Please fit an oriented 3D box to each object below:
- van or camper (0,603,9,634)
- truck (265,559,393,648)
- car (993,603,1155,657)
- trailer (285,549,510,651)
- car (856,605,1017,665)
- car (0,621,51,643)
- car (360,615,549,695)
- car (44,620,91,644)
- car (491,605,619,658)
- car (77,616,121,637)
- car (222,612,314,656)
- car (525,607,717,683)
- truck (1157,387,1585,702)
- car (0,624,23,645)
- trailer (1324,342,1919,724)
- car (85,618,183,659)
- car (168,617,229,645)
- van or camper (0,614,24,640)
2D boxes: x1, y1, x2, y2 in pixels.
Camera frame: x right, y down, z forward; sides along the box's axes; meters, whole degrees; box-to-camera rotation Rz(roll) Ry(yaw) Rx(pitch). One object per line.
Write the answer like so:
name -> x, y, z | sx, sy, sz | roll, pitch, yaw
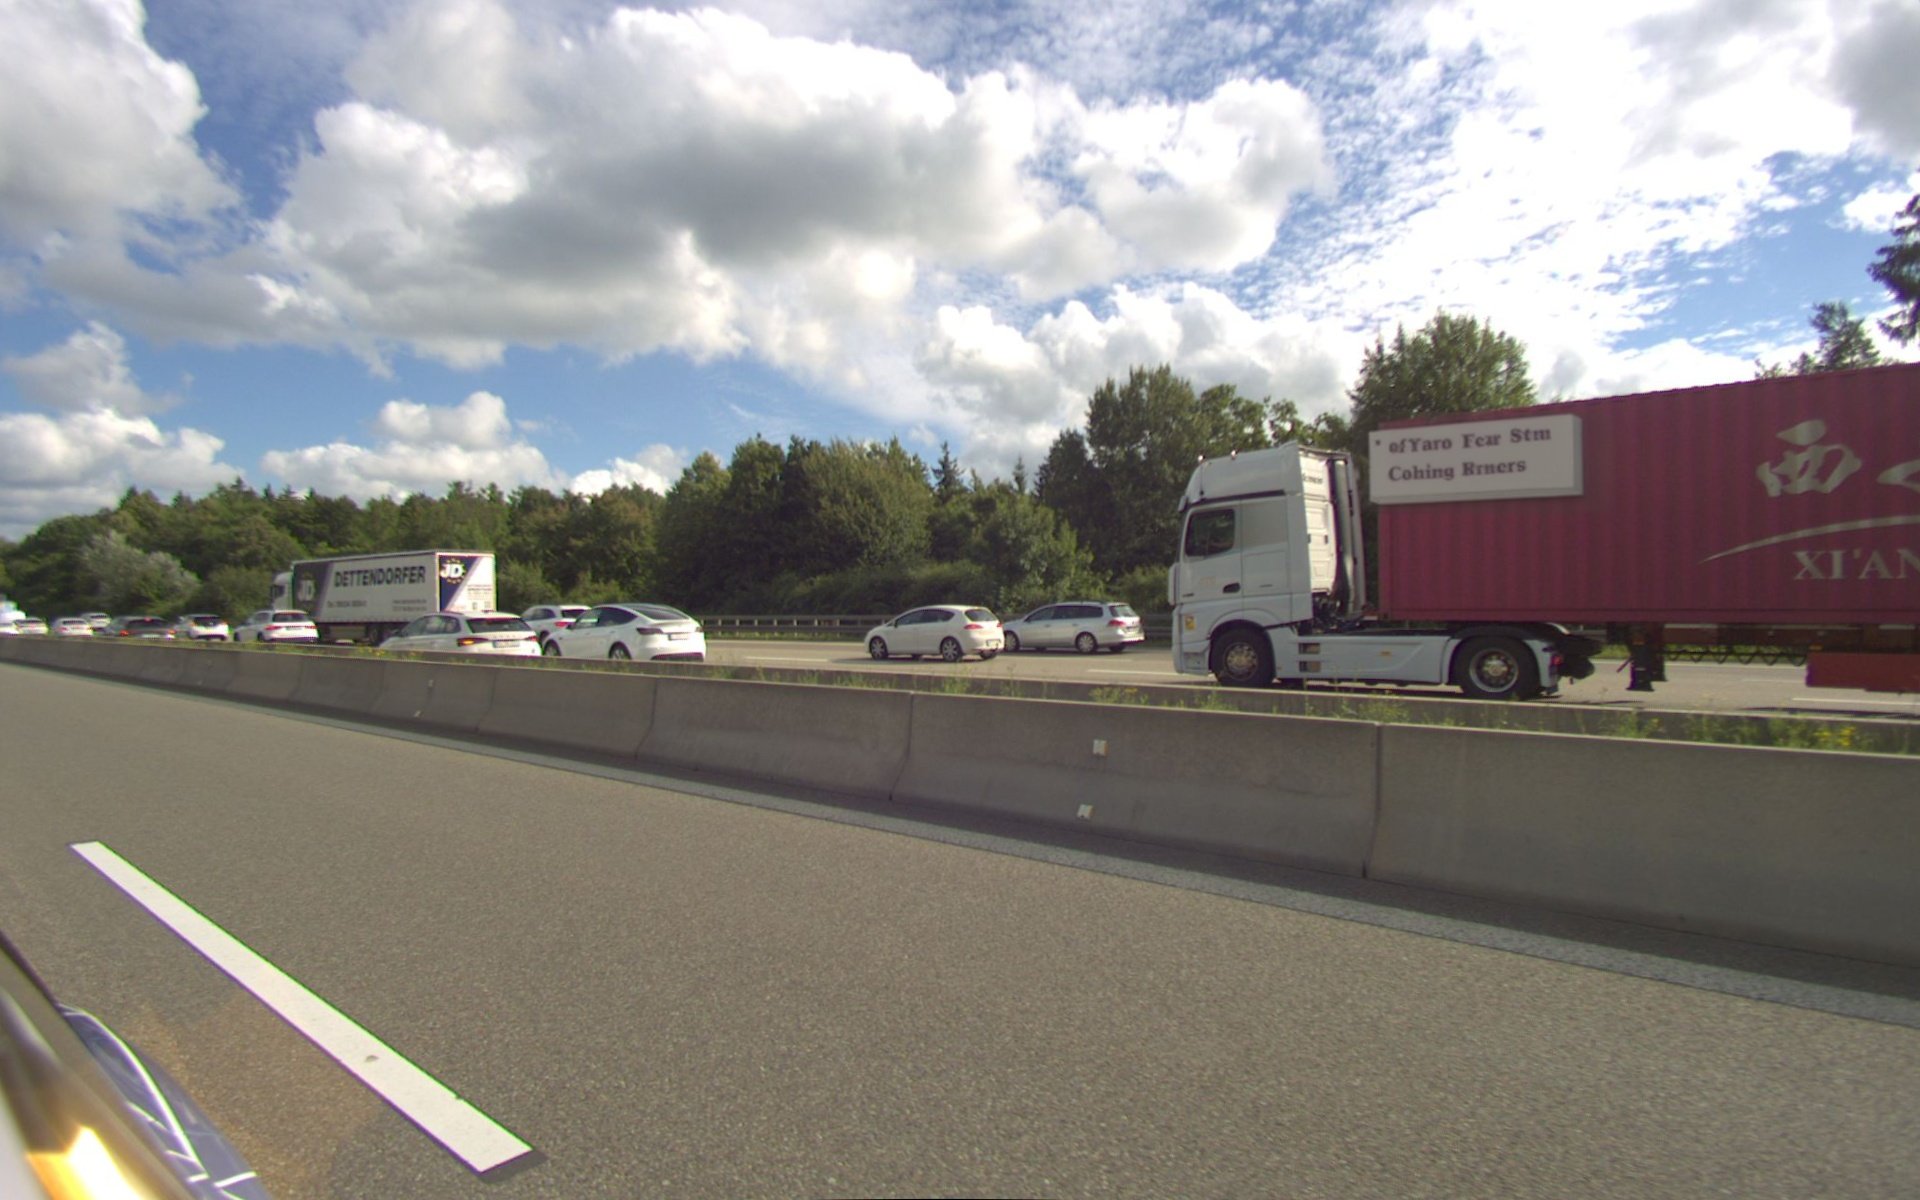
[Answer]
van or camper -> -92.623, 1.794, 96.135 | 6.496, 2.914, 2.351 | -1, -2, 38
truck -> -31.213, 0.207, 50.013 | 6.213, 4.137, 3.288 | -1, 0, 36
car -> 3.260, 0.842, 29.345 | 4.274, 1.448, 1.974 | -1, 0, 40
trailer -> -26.048, 0.106, 46.297 | 14.124, 4.137, 3.289 | -1, 0, 36
car -> -0.678, 0.898, 26.851 | 4.281, 1.437, 1.608 | -1, 0, 40
car -> -64.137, 2.158, 69.430 | 4.683, 1.405, 1.753 | -1, 0, 37
car -> -10.534, 1.060, 20.920 | 4.848, 1.453, 1.752 | -1, 0, 41
car -> -55.839, 1.967, 63.261 | 4.713, 1.407, 1.664 | -1, 0, 42
car -> -13.521, 1.020, 33.604 | 5.040, 1.630, 1.776 | -1, 0, 40
car -> -75.285, 2.303, 88.485 | 4.781, 1.696, 2.149 | -1, 0, 40
car -> -27.364, 1.320, 39.974 | 4.938, 1.606, 1.691 | -1, 0, 39
car -> -7.874, 0.979, 23.242 | 4.990, 1.537, 1.839 | -1, 0, 40
truck -> 6.411, -0.700, 16.219 | 5.761, 4.137, 2.711 | -1, -1, 41
car -> -54.807, 1.943, 57.234 | 4.505, 1.170, 1.795 | -1, -1, 35
trailer -> 11.447, -0.736, 11.880 | 13.408, 4.137, 2.711 | -1, -1, 41
car -> -30.618, 1.398, 37.472 | 4.615, 1.372, 1.974 | -1, 0, 40
car -> -43.352, 1.745, 57.549 | 4.797, 1.464, 1.792 | -1, -1, 41
van or camper -> -75.107, 2.122, 78.980 | 5.445, 1.952, 1.976 | -1, -1, 35
